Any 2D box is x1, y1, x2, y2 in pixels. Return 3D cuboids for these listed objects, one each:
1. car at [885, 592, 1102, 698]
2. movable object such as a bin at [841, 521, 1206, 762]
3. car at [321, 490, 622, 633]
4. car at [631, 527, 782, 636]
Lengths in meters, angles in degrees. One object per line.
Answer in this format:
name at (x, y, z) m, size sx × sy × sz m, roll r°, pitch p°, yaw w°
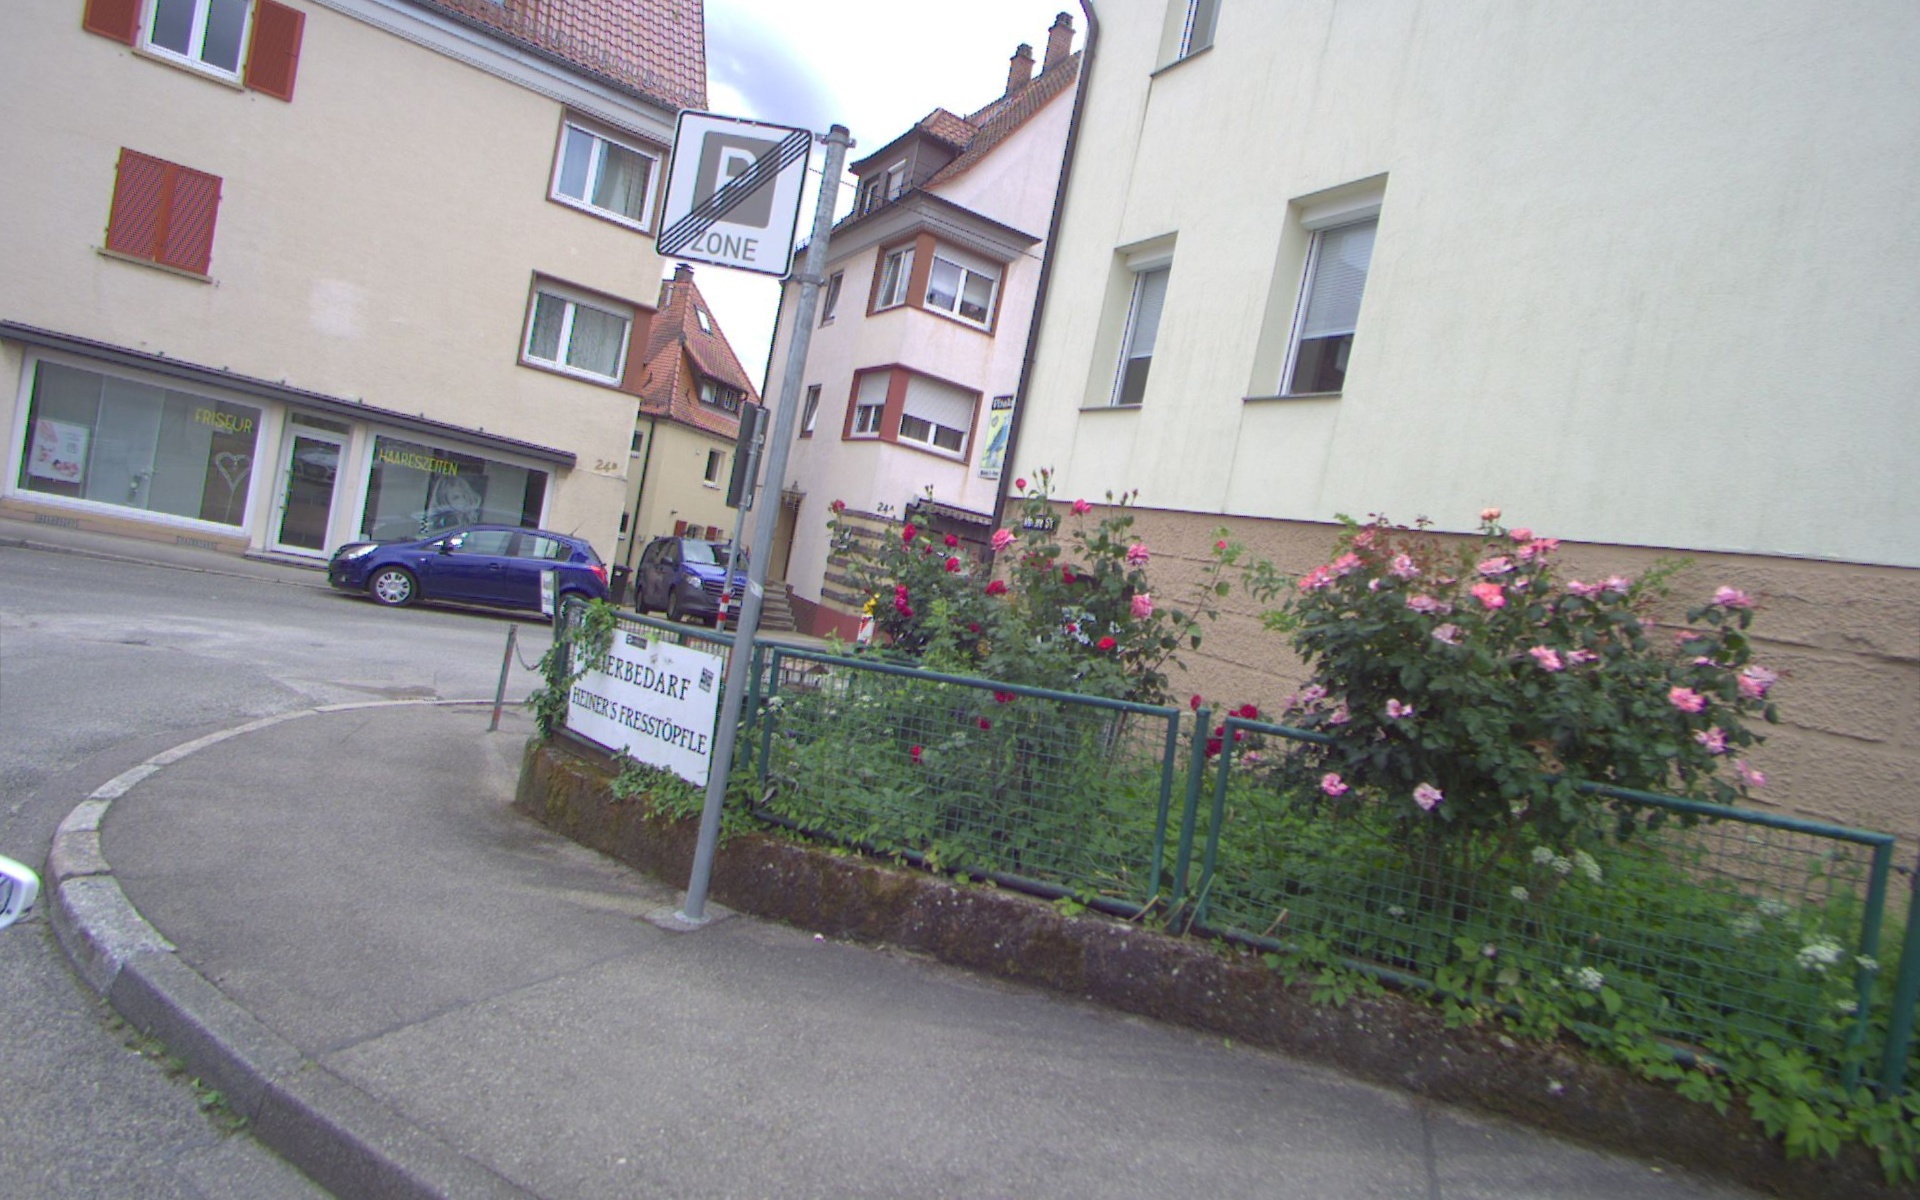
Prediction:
car at (0.704, 0.924, 20.200) m, size 3.964 × 1.420 × 1.682 m, roll 10°, pitch 1°, yaw -32°
movable object such as a bin at (0.971, 0.657, 13.936) m, size 4.631 × 2.532 × 1.557 m, roll 10°, pitch 5°, yaw -33°
car at (-7.508, -0.564, 15.663) m, size 3.880 × 1.467 × 1.684 m, roll 10°, pitch 0°, yaw -30°
car at (-5.784, -0.500, 22.451) m, size 1.932 × 1.888 × 4.865 m, roll 9°, pitch 0°, yaw -28°
